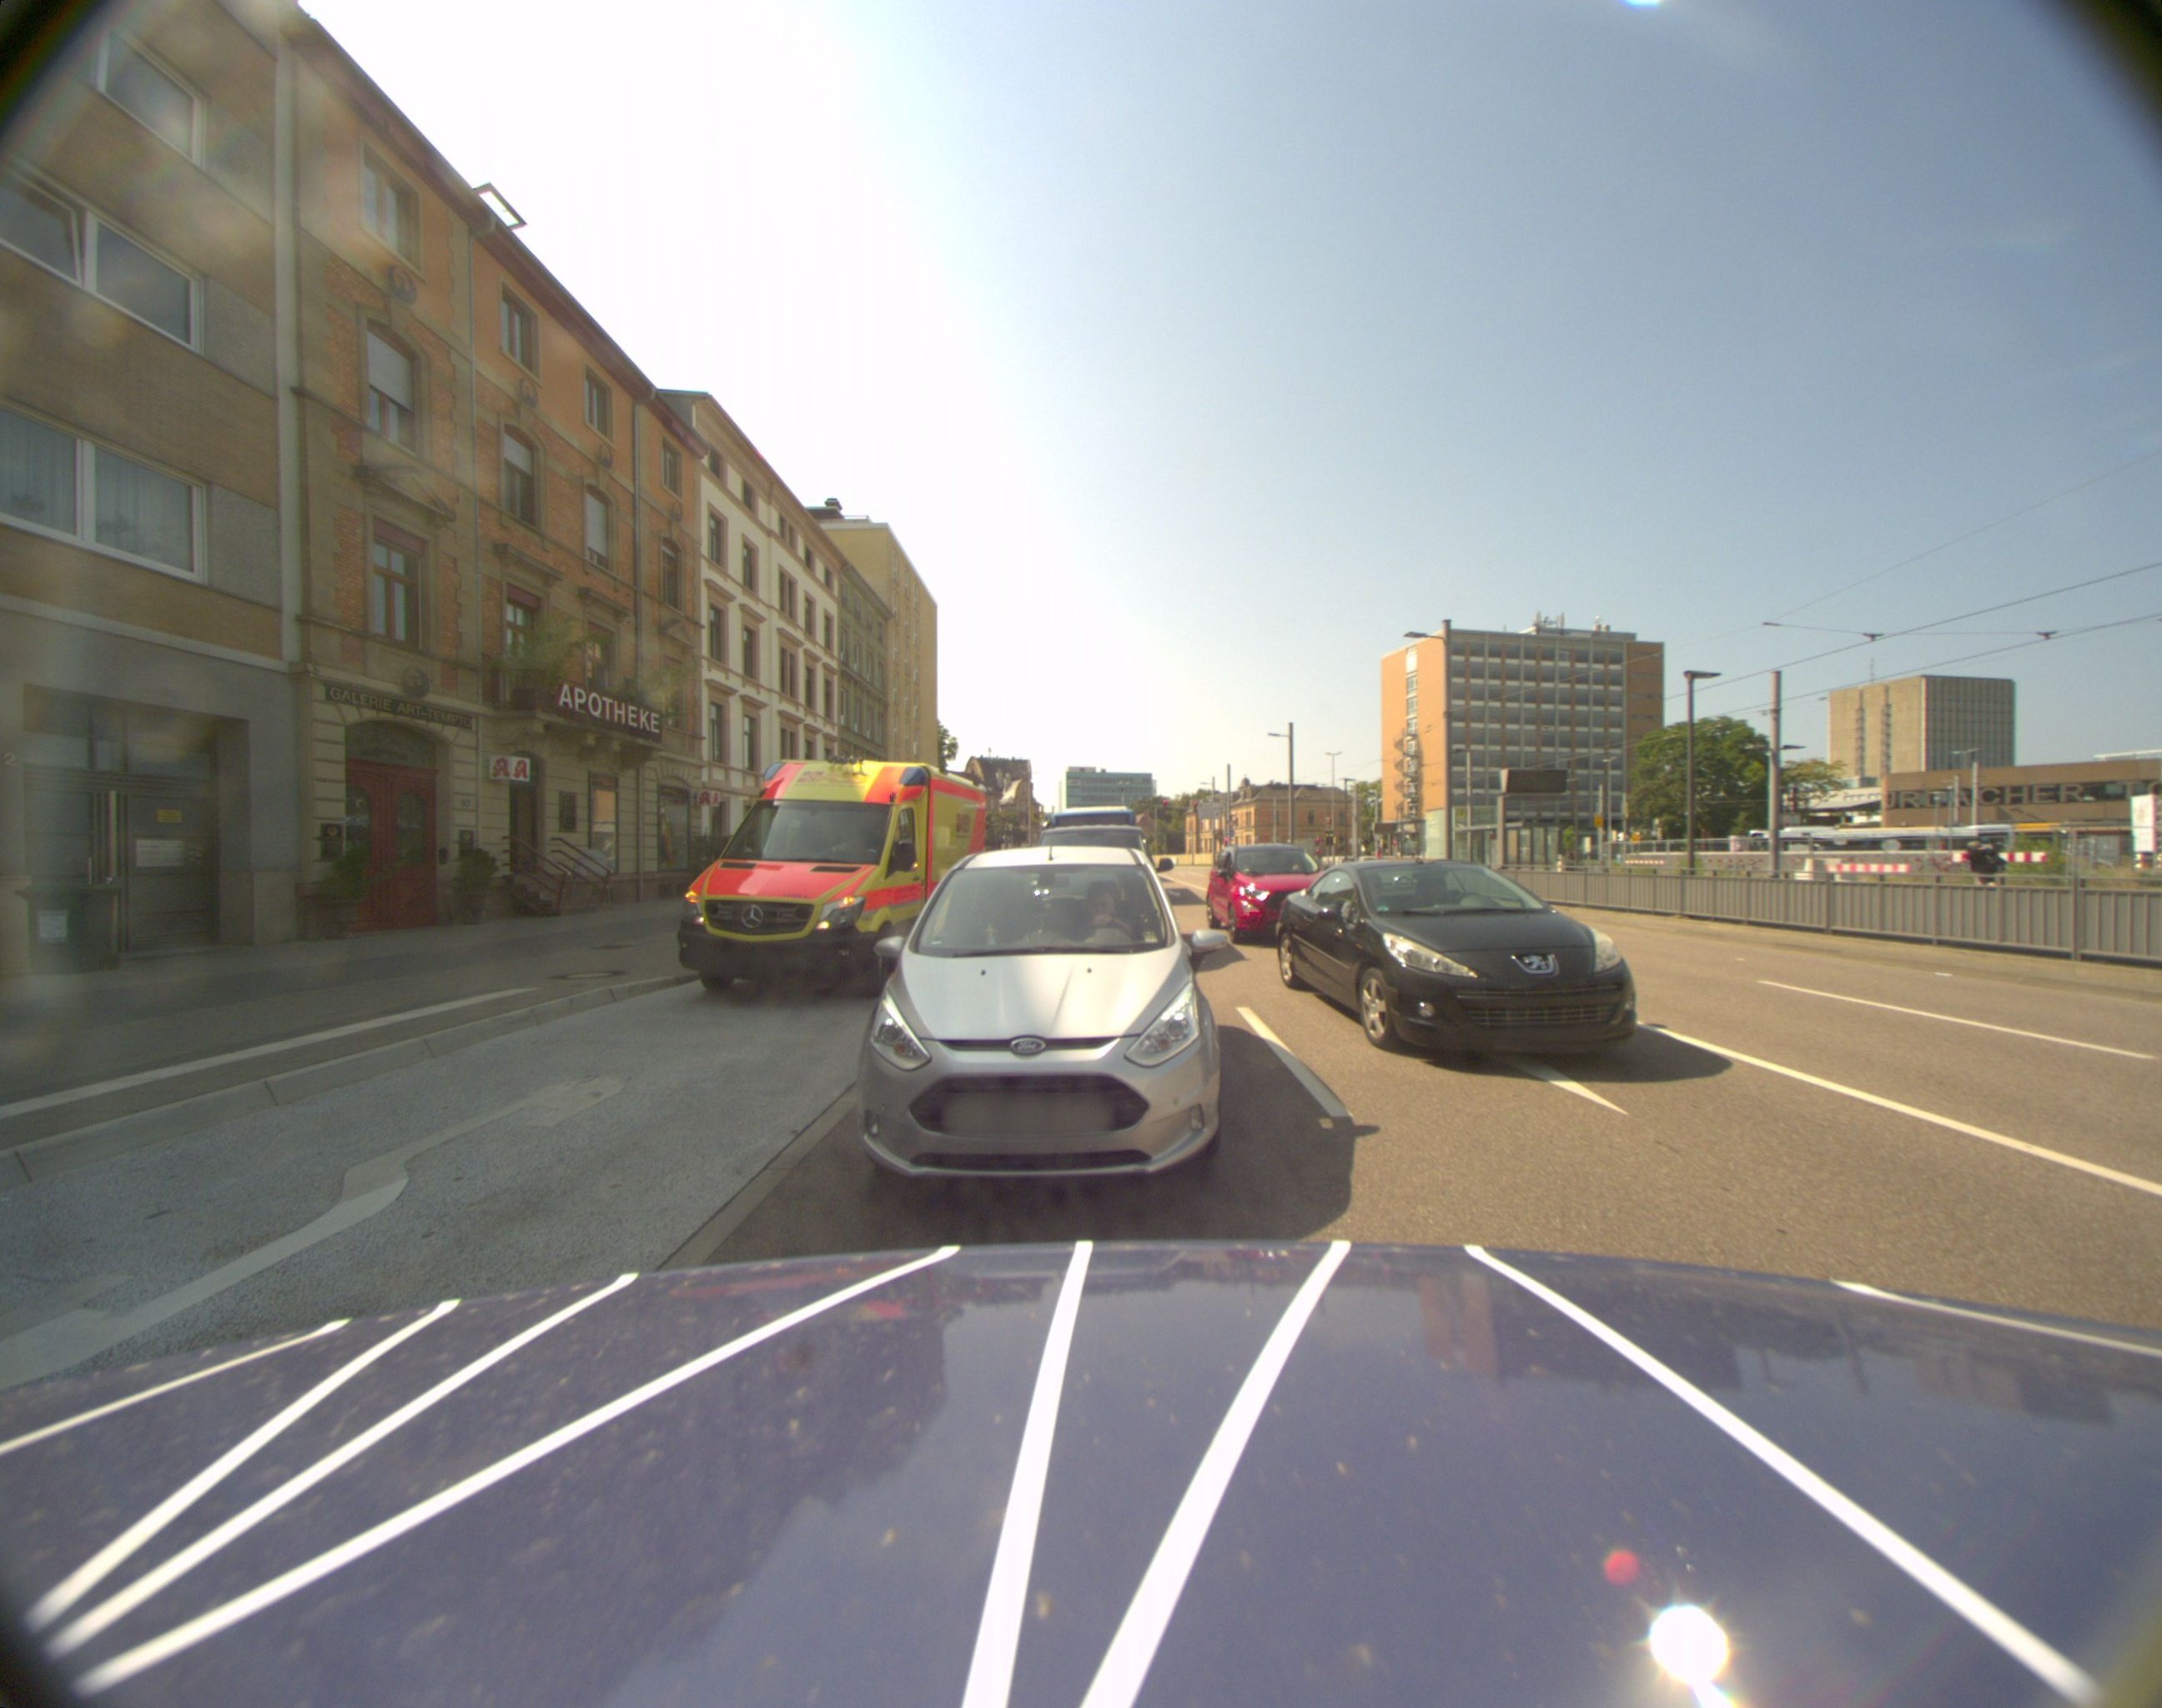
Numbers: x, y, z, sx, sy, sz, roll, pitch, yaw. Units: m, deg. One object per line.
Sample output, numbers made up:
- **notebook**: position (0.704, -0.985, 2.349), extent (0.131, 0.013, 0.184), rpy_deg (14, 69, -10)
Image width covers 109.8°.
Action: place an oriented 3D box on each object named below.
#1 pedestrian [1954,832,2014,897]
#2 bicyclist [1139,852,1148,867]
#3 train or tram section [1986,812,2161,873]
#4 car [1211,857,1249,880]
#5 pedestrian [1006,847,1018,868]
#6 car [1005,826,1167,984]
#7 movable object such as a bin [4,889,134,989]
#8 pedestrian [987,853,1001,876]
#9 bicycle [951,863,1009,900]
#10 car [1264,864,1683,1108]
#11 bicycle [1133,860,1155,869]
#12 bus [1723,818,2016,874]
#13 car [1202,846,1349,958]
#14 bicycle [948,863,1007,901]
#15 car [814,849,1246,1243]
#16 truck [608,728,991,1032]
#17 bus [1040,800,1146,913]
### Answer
- **pedestrian**: position (25.135, 0.282, 21.168), extent (0.745, 1.777, 0.761), rpy_deg (0, 1, 1)
- **bicyclist**: position (7.596, 0.615, 92.062), extent (0.787, 1.797, 0.786), rpy_deg (0, 1, 35)
- **train or tram section**: position (66.303, -0.682, 47.523), extent (2.004, 3.743, 12.331), rpy_deg (-1, 0, -45)
- **car**: position (9.699, 0.919, 49.634), extent (1.750, 1.427, 4.574), rpy_deg (-1, -1, 2)
- **pedestrian**: position (-5.484, 0.280, 60.295), extent (0.644, 1.619, 0.798), rpy_deg (1, 1, 29)
- **car**: position (0.114, 0.634, 11.984), extent (1.998, 1.953, 4.816), rpy_deg (-2, 0, 1)
- **movable object such as a bin**: position (-11.989, 0.979, 9.029), extent (0.648, 1.098, 0.727), rpy_deg (1, 0, -24)
- **pedestrian**: position (-6.833, 0.819, 59.613), extent (0.687, 1.748, 0.798), rpy_deg (1, 1, 30)
- **bicycle**: position (-3.419, 0.936, 25.765), extent (1.841, 1.196, 0.434), rpy_deg (-2, 1, 1)
- **car**: position (2.893, 0.846, 6.615), extent (1.692, 1.405, 3.801), rpy_deg (-2, 0, 1)
- **bicycle**: position (7.630, 1.261, 92.044), extent (2.516, 1.011, 0.786), rpy_deg (0, 1, 35)
- **bus**: position (52.325, -0.421, 51.338), extent (3.357, 3.275, 13.371), rpy_deg (-3, 0, -45)
- **car**: position (3.182, 0.697, 13.193), extent (1.634, 1.611, 3.968), rpy_deg (-2, 0, 2)
- **bicycle**: position (-3.446, 0.937, 25.329), extent (1.841, 1.196, 0.434), rpy_deg (-2, 1, 1)
- **car**: position (-0.161, 0.786, 5.100), extent (1.728, 1.579, 4.000), rpy_deg (-1, 0, 1)
- **truck**: position (-3.022, 0.211, 10.230), extent (2.333, 2.754, 6.340), rpy_deg (2, 1, 4)
- **bus**: position (0.529, 0.050, 27.879), extent (2.919, 3.119, 12.345), rpy_deg (-2, 0, 2)
